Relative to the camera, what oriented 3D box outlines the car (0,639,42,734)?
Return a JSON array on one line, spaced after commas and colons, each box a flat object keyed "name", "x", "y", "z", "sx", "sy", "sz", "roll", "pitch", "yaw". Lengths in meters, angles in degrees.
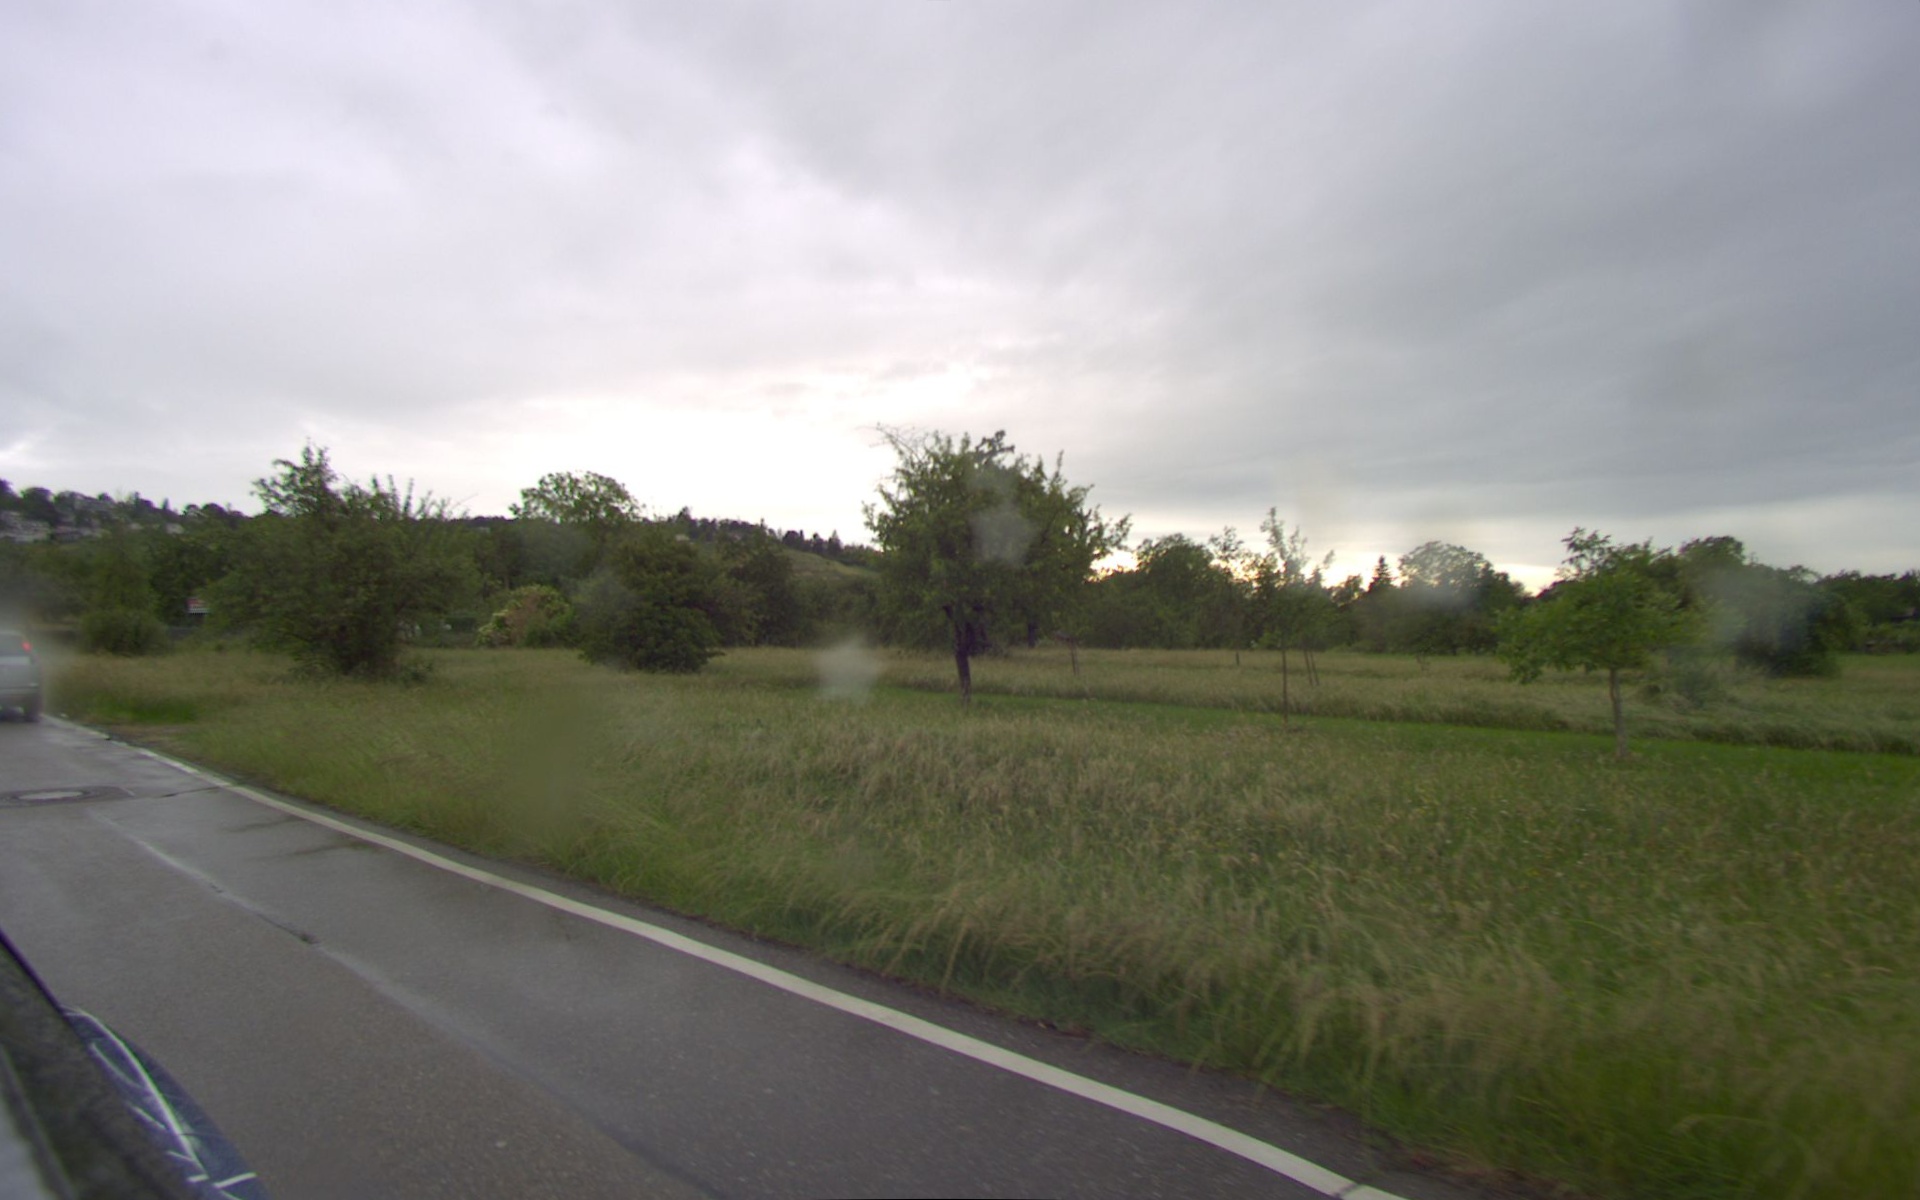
[{"name": "car", "x": -17.664, "y": 1.483, "z": 17.779, "sx": 4.119, "sy": 1.482, "sz": 1.722, "roll": 0, "pitch": -1, "yaw": 40}]
